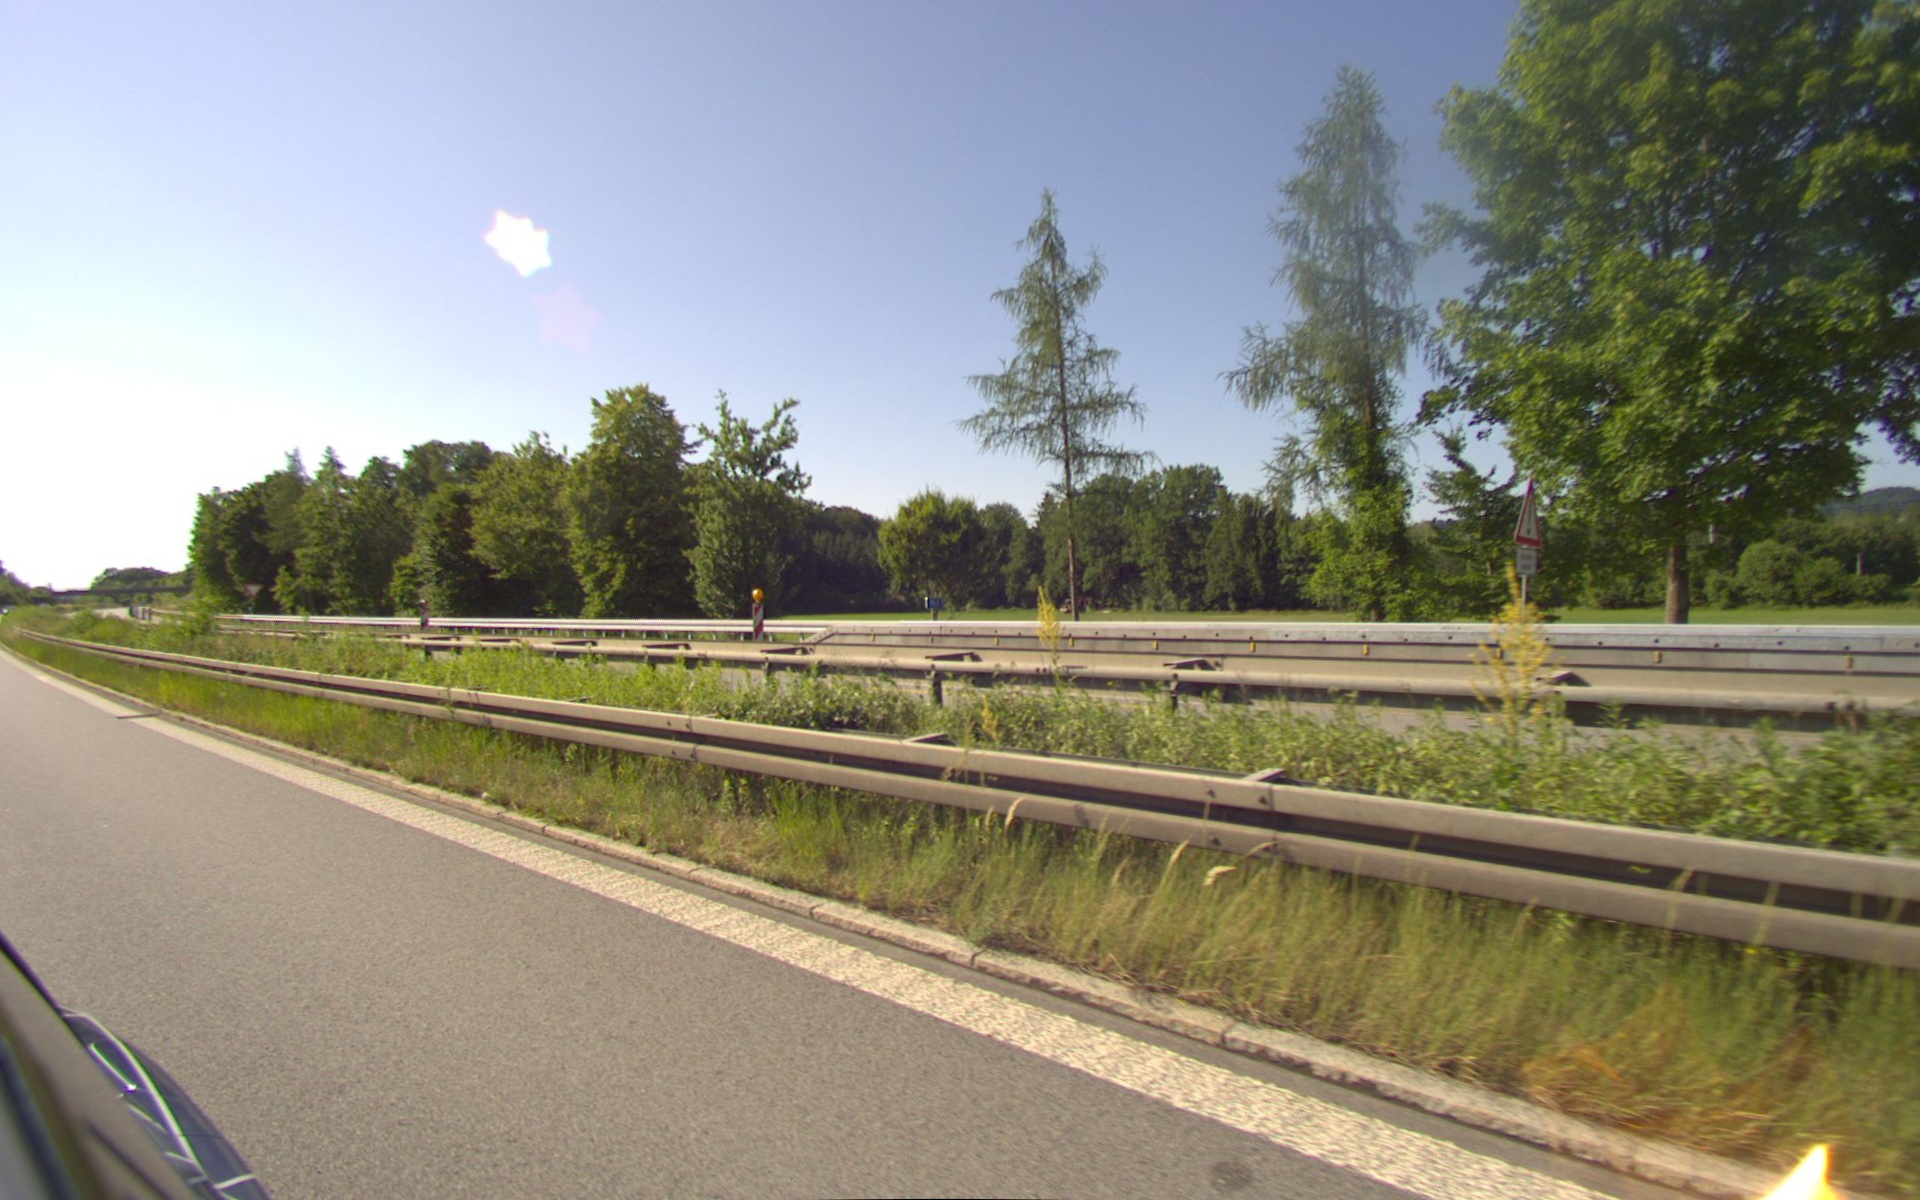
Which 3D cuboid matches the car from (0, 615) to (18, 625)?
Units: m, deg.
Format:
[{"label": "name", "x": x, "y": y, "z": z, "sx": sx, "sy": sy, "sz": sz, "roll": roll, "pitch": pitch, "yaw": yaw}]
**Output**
[{"label": "car", "x": -154.231, "y": 3.184, "z": 164.102, "sx": 1.693, "sy": 1.519, "sz": 4.232, "roll": 0, "pitch": 0, "yaw": -37}]
